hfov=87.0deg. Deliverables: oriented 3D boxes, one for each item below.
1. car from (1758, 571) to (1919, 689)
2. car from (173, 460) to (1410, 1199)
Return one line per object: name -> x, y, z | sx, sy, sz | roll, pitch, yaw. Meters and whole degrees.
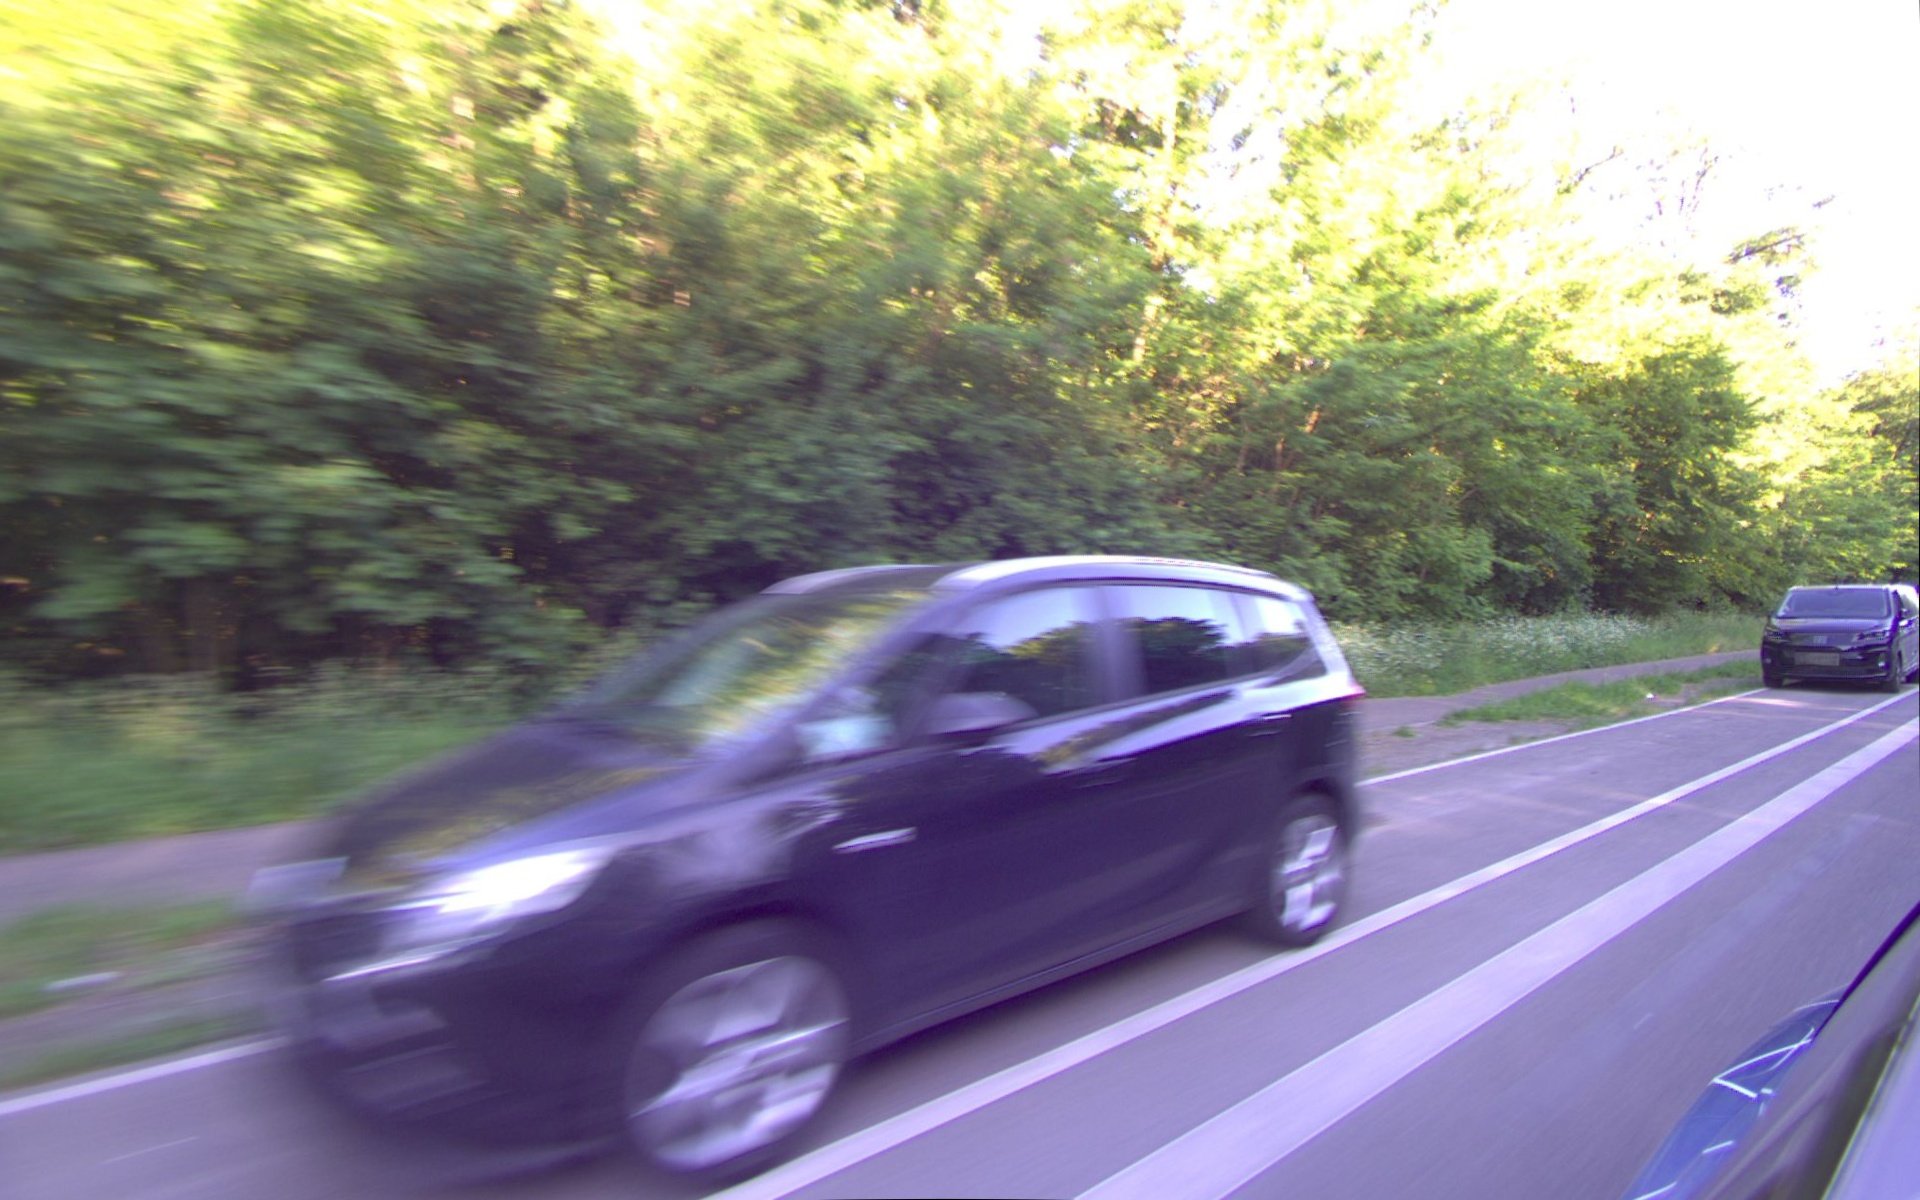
car -> 16.863, 0.483, 18.983 | 5.377, 1.923, 1.997 | 0, 0, -41
car -> -0.176, 0.582, 3.961 | 4.521, 1.712, 1.802 | -1, 0, -41
